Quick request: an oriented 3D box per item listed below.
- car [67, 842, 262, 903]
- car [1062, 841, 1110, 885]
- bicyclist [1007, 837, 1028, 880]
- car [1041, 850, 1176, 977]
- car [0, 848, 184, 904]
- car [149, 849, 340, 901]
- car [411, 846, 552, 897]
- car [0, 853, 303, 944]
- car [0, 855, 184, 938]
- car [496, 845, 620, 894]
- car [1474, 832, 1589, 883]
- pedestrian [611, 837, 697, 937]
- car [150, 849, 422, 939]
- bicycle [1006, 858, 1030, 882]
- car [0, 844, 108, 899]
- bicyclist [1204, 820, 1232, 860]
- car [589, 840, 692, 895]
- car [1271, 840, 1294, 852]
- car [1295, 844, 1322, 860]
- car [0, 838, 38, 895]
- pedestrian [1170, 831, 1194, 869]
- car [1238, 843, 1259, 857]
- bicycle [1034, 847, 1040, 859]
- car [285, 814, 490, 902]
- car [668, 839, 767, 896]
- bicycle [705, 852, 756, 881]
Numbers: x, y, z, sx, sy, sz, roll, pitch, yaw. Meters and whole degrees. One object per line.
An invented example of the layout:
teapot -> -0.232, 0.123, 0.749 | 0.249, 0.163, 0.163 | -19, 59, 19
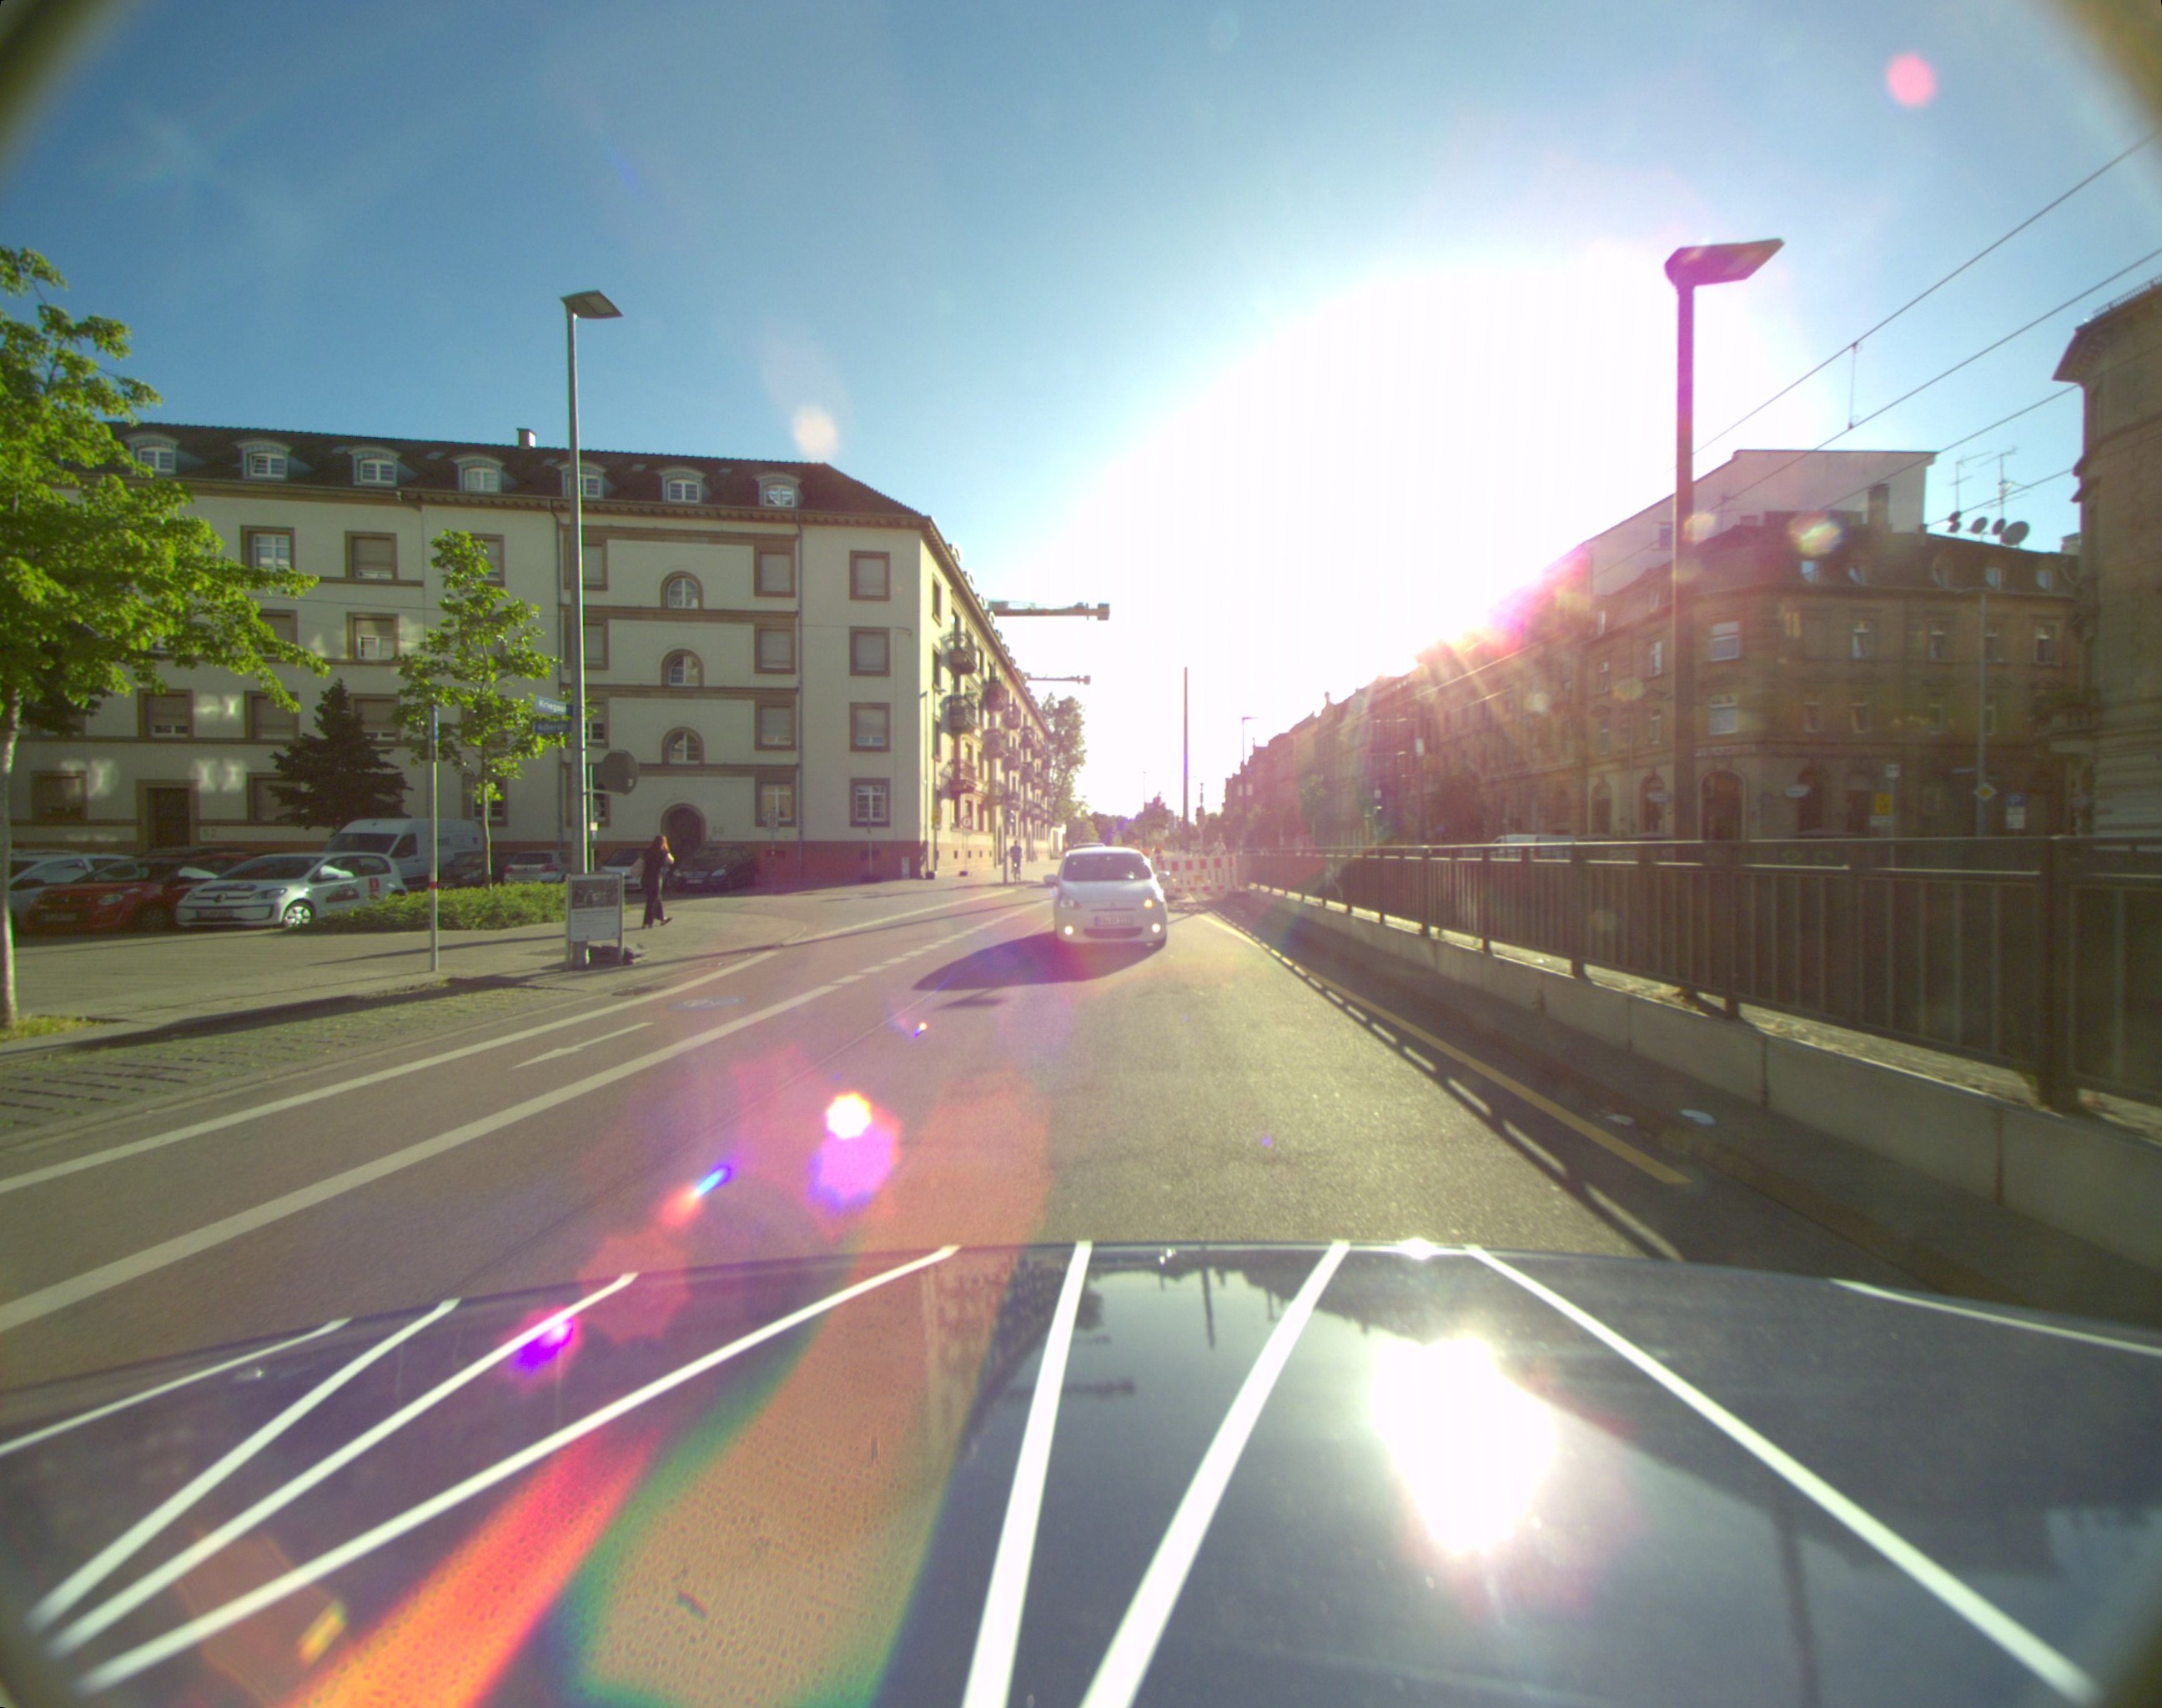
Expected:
car -> -29.377, 0.536, 24.580 | 1.543, 1.729, 3.998 | -2, 1, -5
car -> 0.225, 0.340, 32.739 | 1.899, 1.730, 4.000 | -2, 1, 1
bicyclist -> -2.651, 0.173, 31.735 | 0.734, 1.753, 0.937 | 0, 1, 2
car -> 0.435, 0.736, 11.637 | 1.634, 1.499, 4.350 | -2, 1, 3
car -> -31.789, 0.641, 24.219 | 1.695, 1.606, 3.998 | -2, 1, -4
car -> -26.902, 0.607, 24.665 | 1.694, 1.482, 3.999 | -2, 1, -1
car -> -20.471, 0.523, 26.234 | 1.698, 1.470, 4.435 | -2, 2, -7
car -> -17.540, 0.749, 14.601 | 1.637, 1.444, 3.653 | -2, 1, -7
car -> -19.939, 0.783, 14.346 | 1.637, 1.446, 3.732 | -2, 1, -4
car -> -17.996, 0.479, 26.419 | 1.698, 1.421, 4.435 | -2, 2, -8
car -> 18.569, 0.123, 31.593 | 1.999, 1.869, 4.582 | -2, 1, -1
pedestrian -> -7.947, 0.577, 14.183 | 0.885, 1.754, 1.106 | 2, 2, 12
car -> -15.289, 0.680, 14.962 | 1.668, 1.466, 3.833 | -2, 1, -9
bicycle -> -2.626, 0.663, 31.874 | 0.769, 0.947, 2.198 | 0, 1, 2
car -> -34.519, 0.582, 24.406 | 1.696, 1.717, 3.996 | -2, 1, -10
bicyclist -> 6.154, -0.646, 34.095 | 0.886, 1.763, 0.854 | -1, 1, -24
car -> -15.494, 0.405, 26.993 | 1.629, 1.677, 4.434 | -1, 2, -9
car -> 26.093, -1.040, 98.424 | 1.998, 1.430, 4.308 | -1, 1, 2
car -> 25.872, -0.253, 86.561 | 1.942, 1.649, 4.545 | -2, 1, 4
car -> -36.775, 0.451, 24.211 | 1.695, 1.926, 3.997 | -2, 1, -7
pedestrian -> 3.821, -0.154, 28.858 | 0.791, 1.449, 0.946 | 0, 1, 0
car -> 20.334, -0.511, 92.232 | 1.800, 1.630, 4.477 | 0, 1, 3
bicycle -> -4.340, -0.104, 74.864 | 0.419, 1.089, 2.198 | 0, 1, 2
car -> -22.635, -0.039, 25.269 | 1.929, 2.595, 5.955 | 0, 3, -8
car -> -12.794, 0.407, 27.058 | 1.697, 1.677, 4.435 | -1, 3, -5
bicycle -> -14.190, 0.508, 30.779 | 1.811, 1.158, 0.406 | 0, 3, -11
